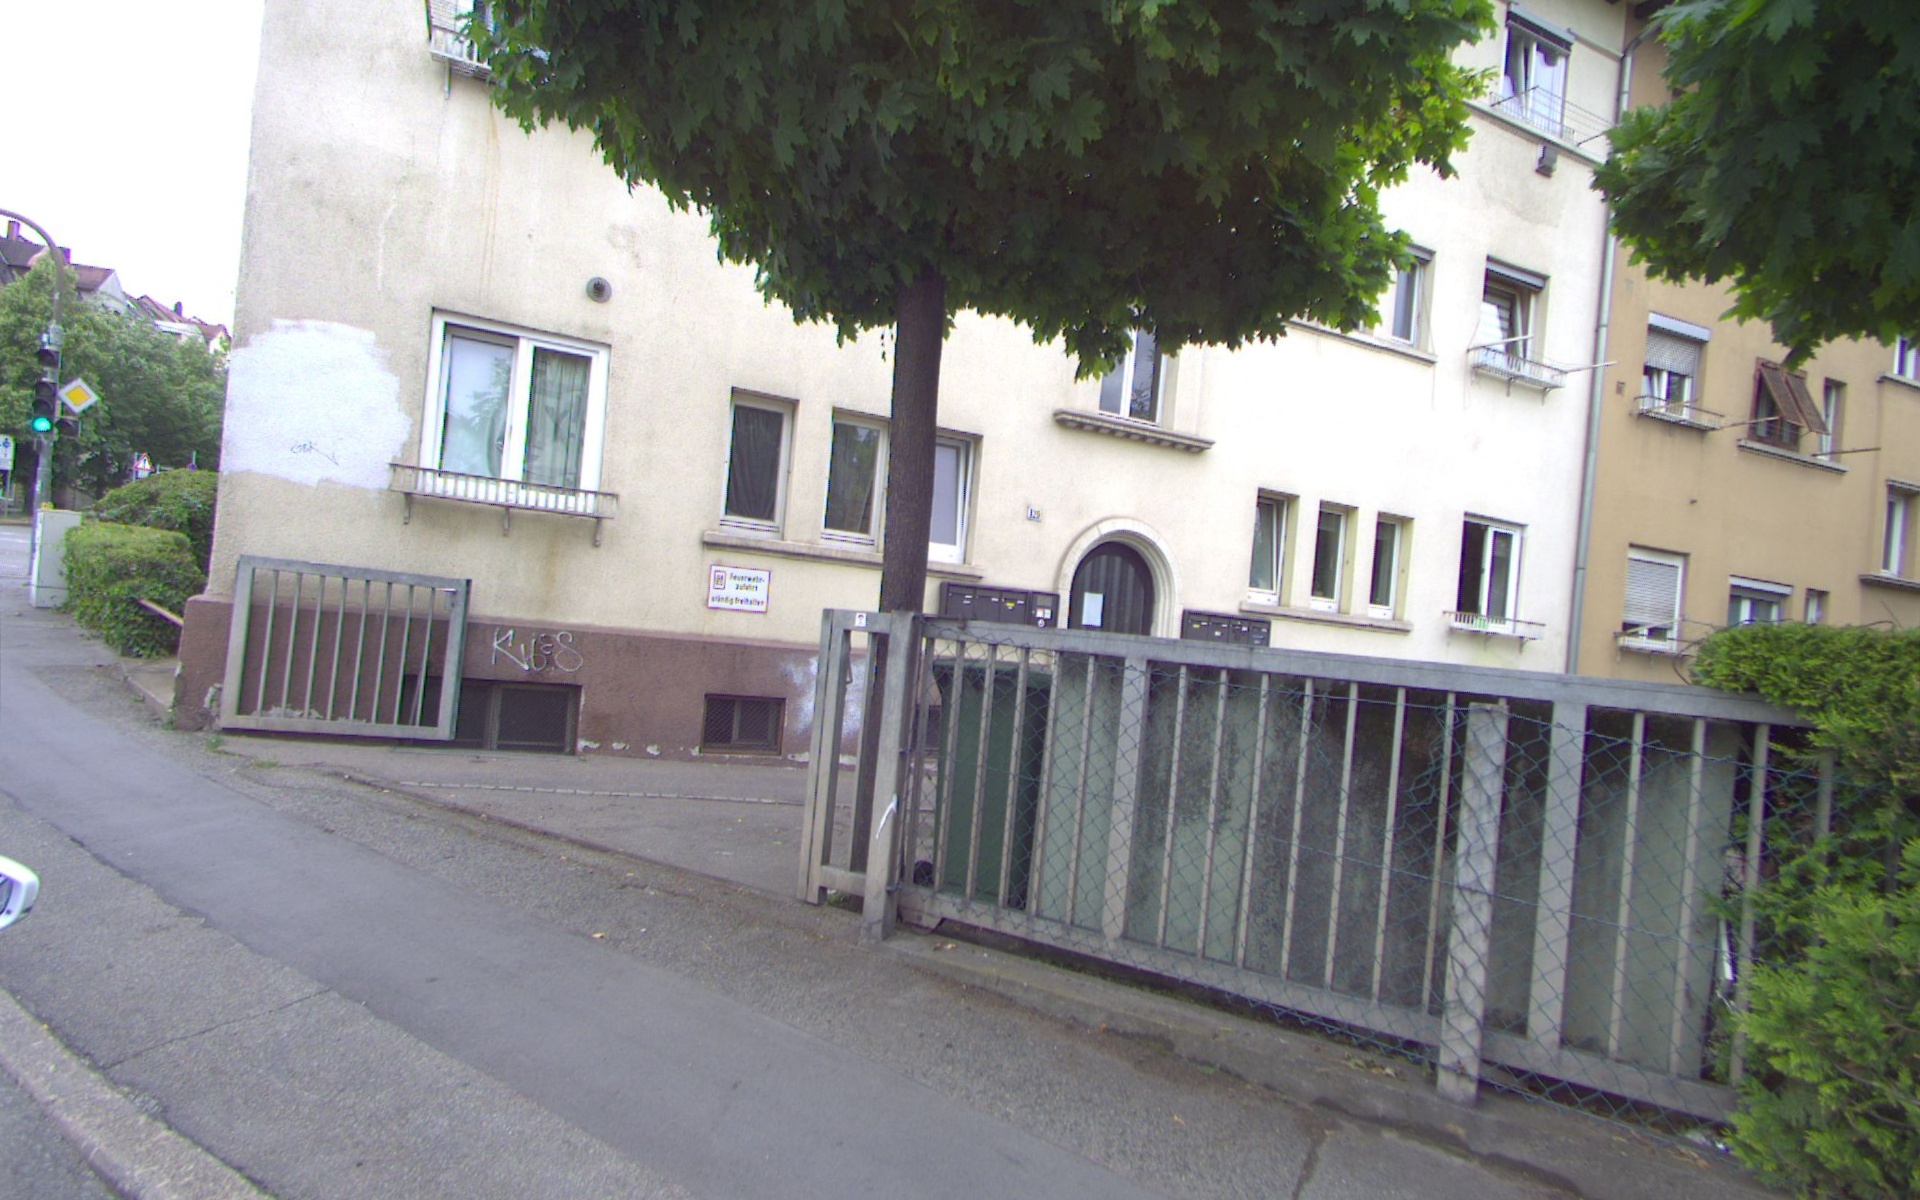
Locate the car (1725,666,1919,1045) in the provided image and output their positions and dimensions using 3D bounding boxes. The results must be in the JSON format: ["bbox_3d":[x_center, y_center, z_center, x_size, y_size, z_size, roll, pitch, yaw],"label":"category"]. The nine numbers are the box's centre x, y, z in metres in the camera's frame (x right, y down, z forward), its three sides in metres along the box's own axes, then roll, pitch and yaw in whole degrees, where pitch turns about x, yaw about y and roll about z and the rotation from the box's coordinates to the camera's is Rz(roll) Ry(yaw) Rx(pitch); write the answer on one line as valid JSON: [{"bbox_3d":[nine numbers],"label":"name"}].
[{"bbox_3d":[5.253,1.223,3.754,1.688,1.477,3.405,8,-2,-37],"label":"car"}]
